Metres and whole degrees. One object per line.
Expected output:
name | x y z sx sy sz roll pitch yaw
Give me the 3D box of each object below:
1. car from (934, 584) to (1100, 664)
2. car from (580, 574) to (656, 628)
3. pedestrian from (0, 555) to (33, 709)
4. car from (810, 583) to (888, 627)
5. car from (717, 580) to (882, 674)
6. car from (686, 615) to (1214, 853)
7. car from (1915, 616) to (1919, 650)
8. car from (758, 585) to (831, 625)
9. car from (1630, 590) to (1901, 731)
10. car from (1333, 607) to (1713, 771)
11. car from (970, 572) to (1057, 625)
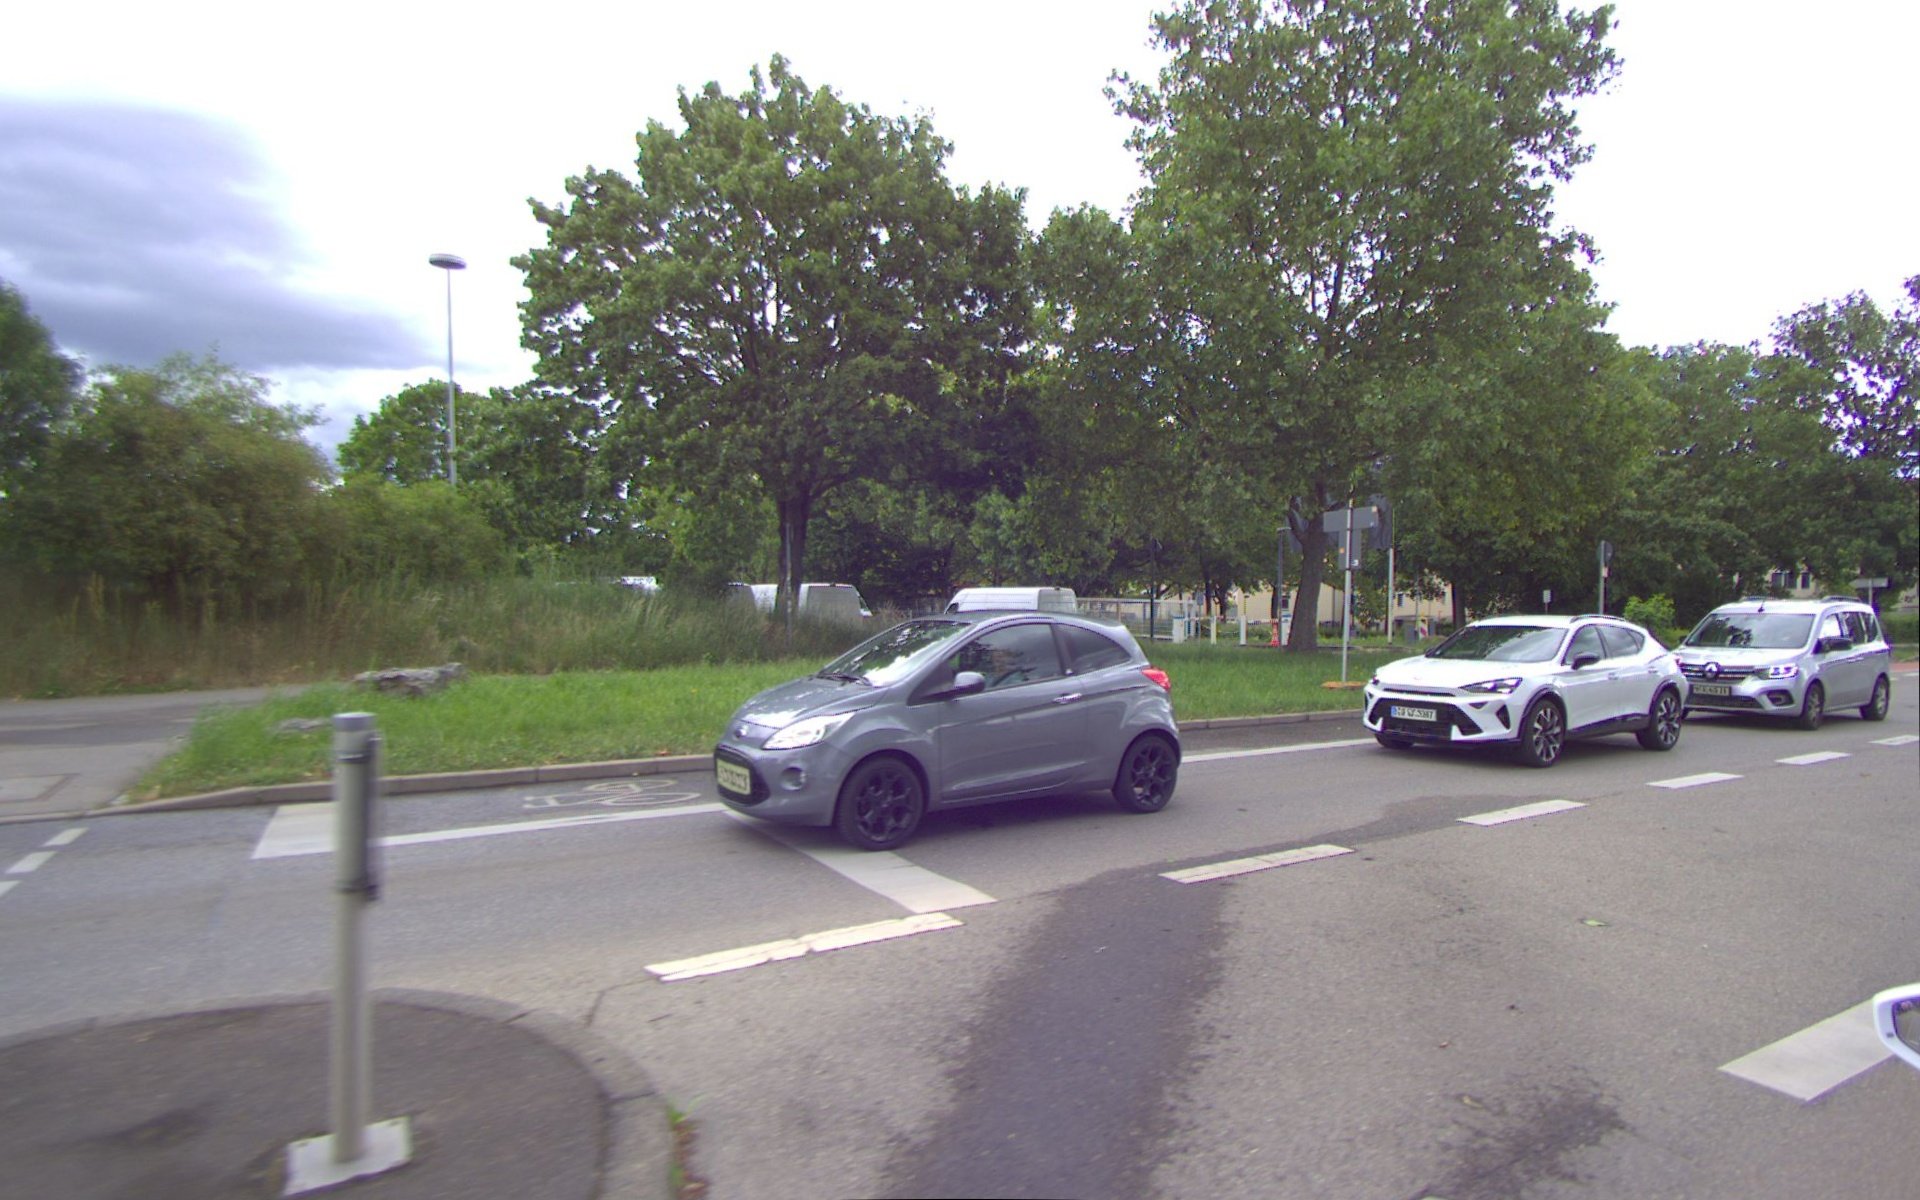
car | 1.810 0.734 34.656 2.630 2.508 6.006 1 0 -34
car | -16.814 0.047 49.186 2.378 2.488 4.936 1 0 -33
pedestrian | -10.870 0.337 11.104 0.744 1.674 0.740 1 1 -30
car | -5.945 0.218 53.199 1.980 2.220 4.933 0 0 -35
car | -4.946 0.709 30.046 2.630 2.508 6.006 1 0 -34
car | 0.007 0.790 7.335 3.613 1.348 1.539 1 -1 -32
car | 42.281 1.436 42.715 3.960 1.421 1.661 1 1 -35
car | -8.740 0.238 52.688 1.979 2.040 4.936 1 0 -33
car | 12.158 0.824 15.085 4.600 1.827 1.835 1 -1 -33
car | 6.578 0.878 11.563 4.763 1.541 1.835 1 -1 -33
car | 2.750 -0.080 53.178 1.980 2.698 4.933 1 0 -35
